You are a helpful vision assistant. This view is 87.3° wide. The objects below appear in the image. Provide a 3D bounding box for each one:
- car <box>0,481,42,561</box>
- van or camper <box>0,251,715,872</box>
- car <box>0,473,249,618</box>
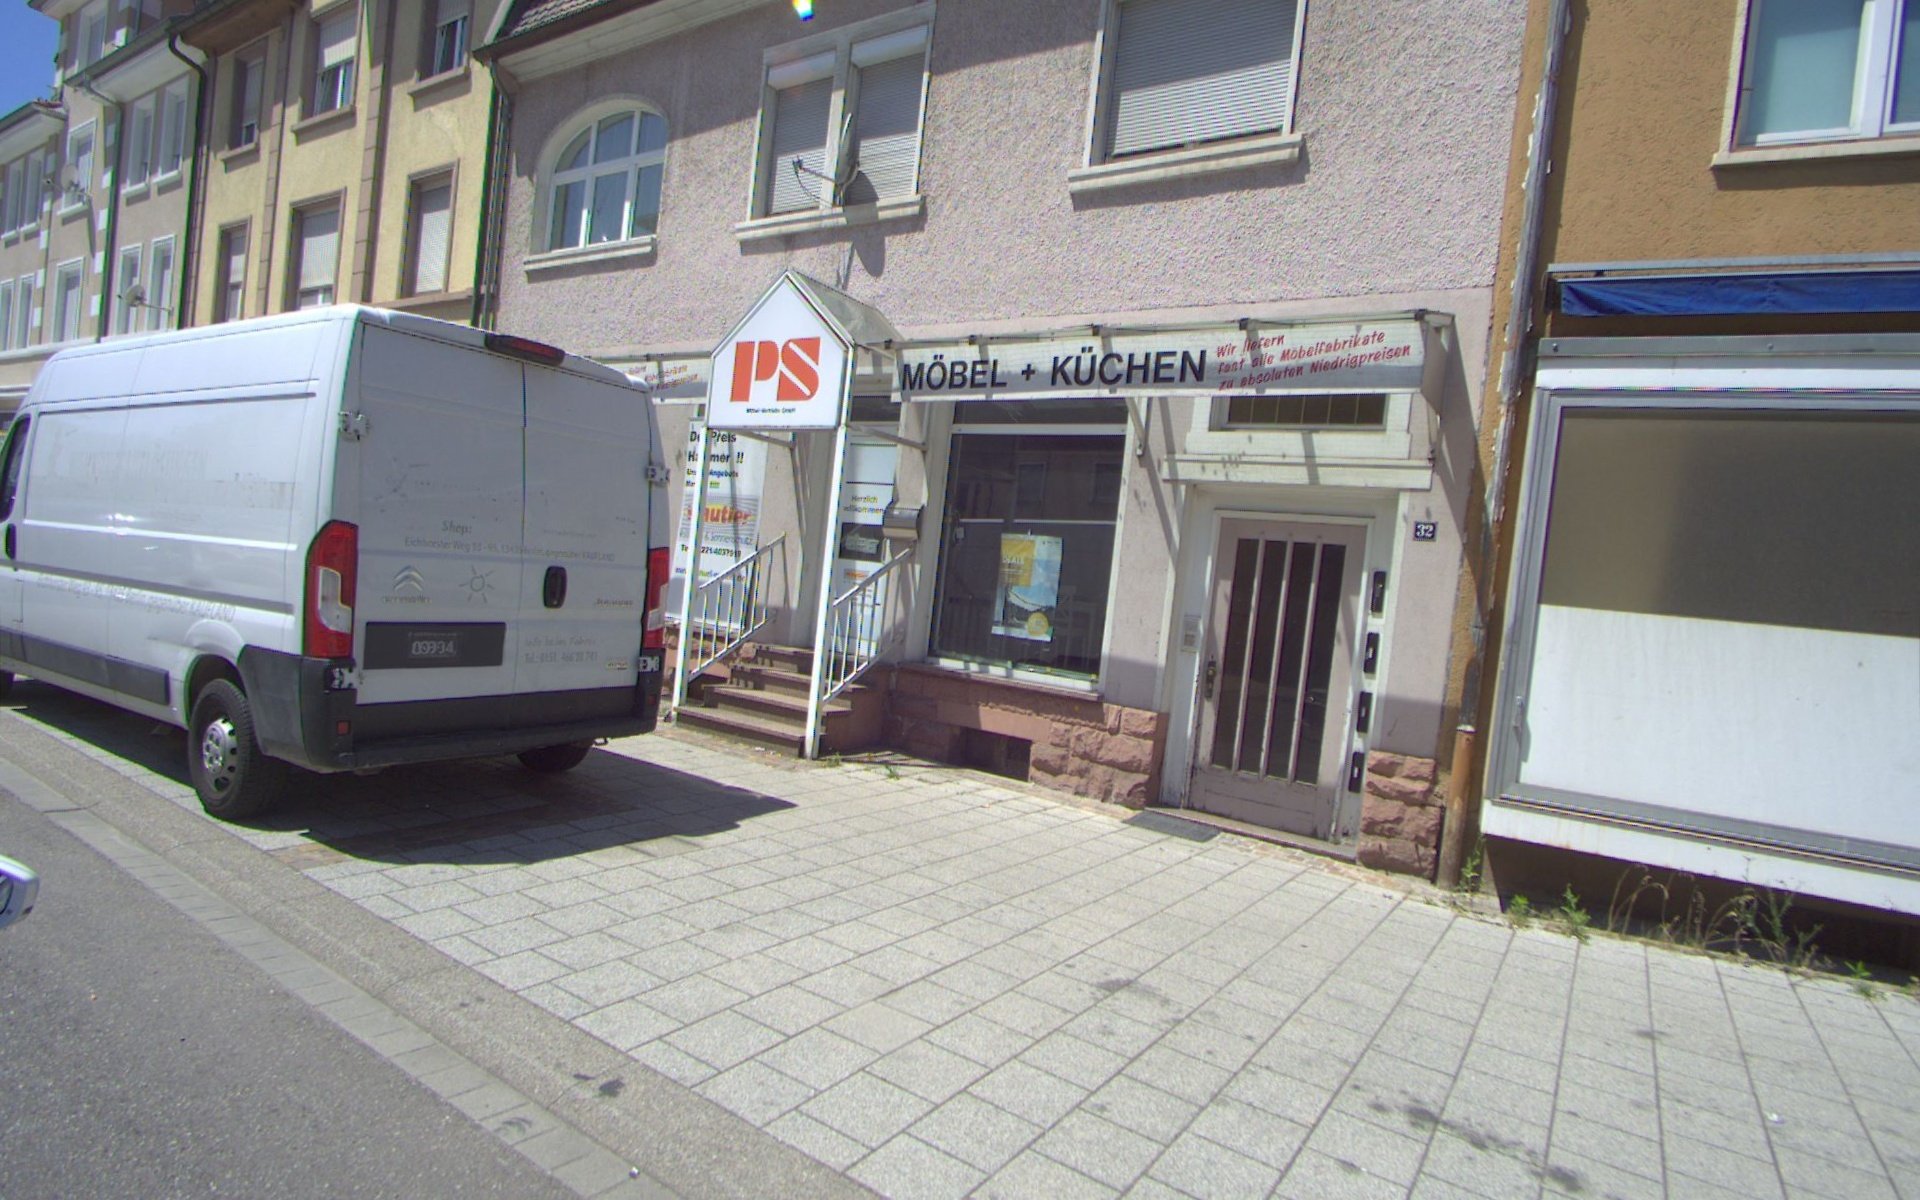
[{"bbox_3d":[-21.250,-1.830,21.116,4.613,1.550,1.764,7,2,33],"label":"car"},{"bbox_3d":[-4.548,-0.371,6.660,5.670,2.623,2.165,6,2,32],"label":"van or camper"},{"bbox_3d":[-11.795,-0.798,13.952,4.292,1.642,1.672,7,3,33],"label":"car"}]
